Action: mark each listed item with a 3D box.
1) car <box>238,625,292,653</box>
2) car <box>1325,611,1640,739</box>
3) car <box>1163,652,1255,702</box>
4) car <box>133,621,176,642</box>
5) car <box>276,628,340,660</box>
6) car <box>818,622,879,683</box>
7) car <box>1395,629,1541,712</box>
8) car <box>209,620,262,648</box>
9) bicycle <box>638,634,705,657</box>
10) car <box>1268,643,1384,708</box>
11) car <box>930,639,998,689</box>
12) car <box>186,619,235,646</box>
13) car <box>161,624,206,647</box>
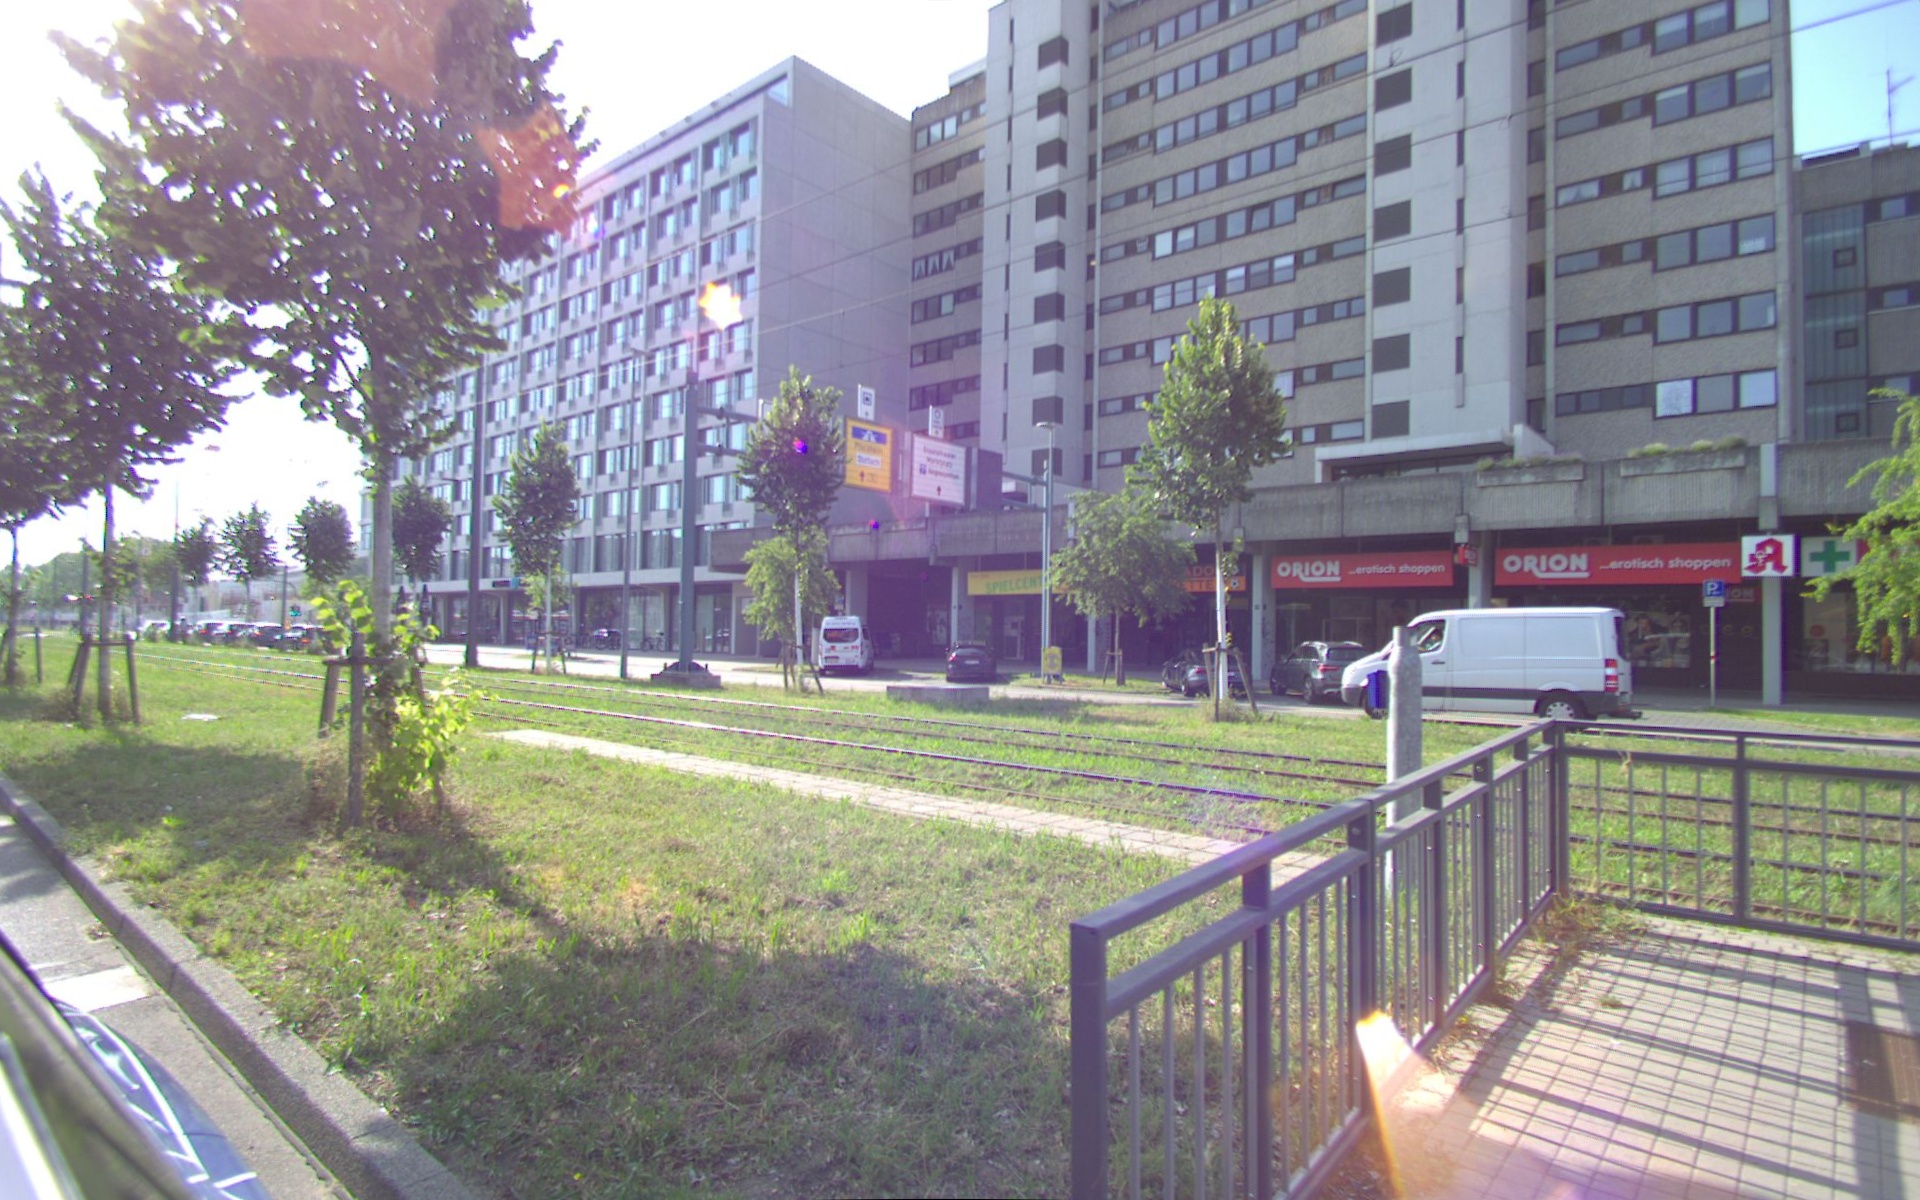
[{"bbox_3d":[-38.368,2.148,55.842,3.642,1.498,1.721,-1,-3,44],"label":"car"},{"bbox_3d":[10.394,1.395,20.430,5.331,2.256,2.025,-1,-3,40],"label":"car"},{"bbox_3d":[7.477,2.288,30.812,1.854,1.253,4.109,0,-1,2],"label":"car"},{"bbox_3d":[-59.544,2.326,74.792,3.999,1.536,1.763,-1,-3,42],"label":"car"},{"bbox_3d":[-32.808,2.197,50.853,4.001,1.492,1.787,-1,-3,44],"label":"car"},{"bbox_3d":[-4.549,2.127,42.023,1.859,2.326,5.406,1,-2,1],"label":"car"},{"bbox_3d":[13.301,1.803,26.807,1.854,1.983,4.109,1,-2,2],"label":"car"},{"bbox_3d":[-43.085,2.002,60.149,4.001,1.586,1.787,-1,-3,44],"label":"car"},{"bbox_3d":[-18.191,2.862,63.900,3.936,1.377,1.128,3,-3,-40],"label":"bicycle"},{"bbox_3d":[10.179,2.060,28.470,1.854,1.618,4.109,1,-2,2],"label":"car"},{"bbox_3d":[0.078,2.310,37.114,2.070,1.594,4.005,-1,-1,-5],"label":"car"},{"bbox_3d":[-47.208,2.034,63.753,4.001,1.586,1.787,-1,-3,44],"label":"car"},{"bbox_3d":[-52.404,2.417,68.301,4.001,1.486,1.787,-1,-3,44],"label":"car"}]
